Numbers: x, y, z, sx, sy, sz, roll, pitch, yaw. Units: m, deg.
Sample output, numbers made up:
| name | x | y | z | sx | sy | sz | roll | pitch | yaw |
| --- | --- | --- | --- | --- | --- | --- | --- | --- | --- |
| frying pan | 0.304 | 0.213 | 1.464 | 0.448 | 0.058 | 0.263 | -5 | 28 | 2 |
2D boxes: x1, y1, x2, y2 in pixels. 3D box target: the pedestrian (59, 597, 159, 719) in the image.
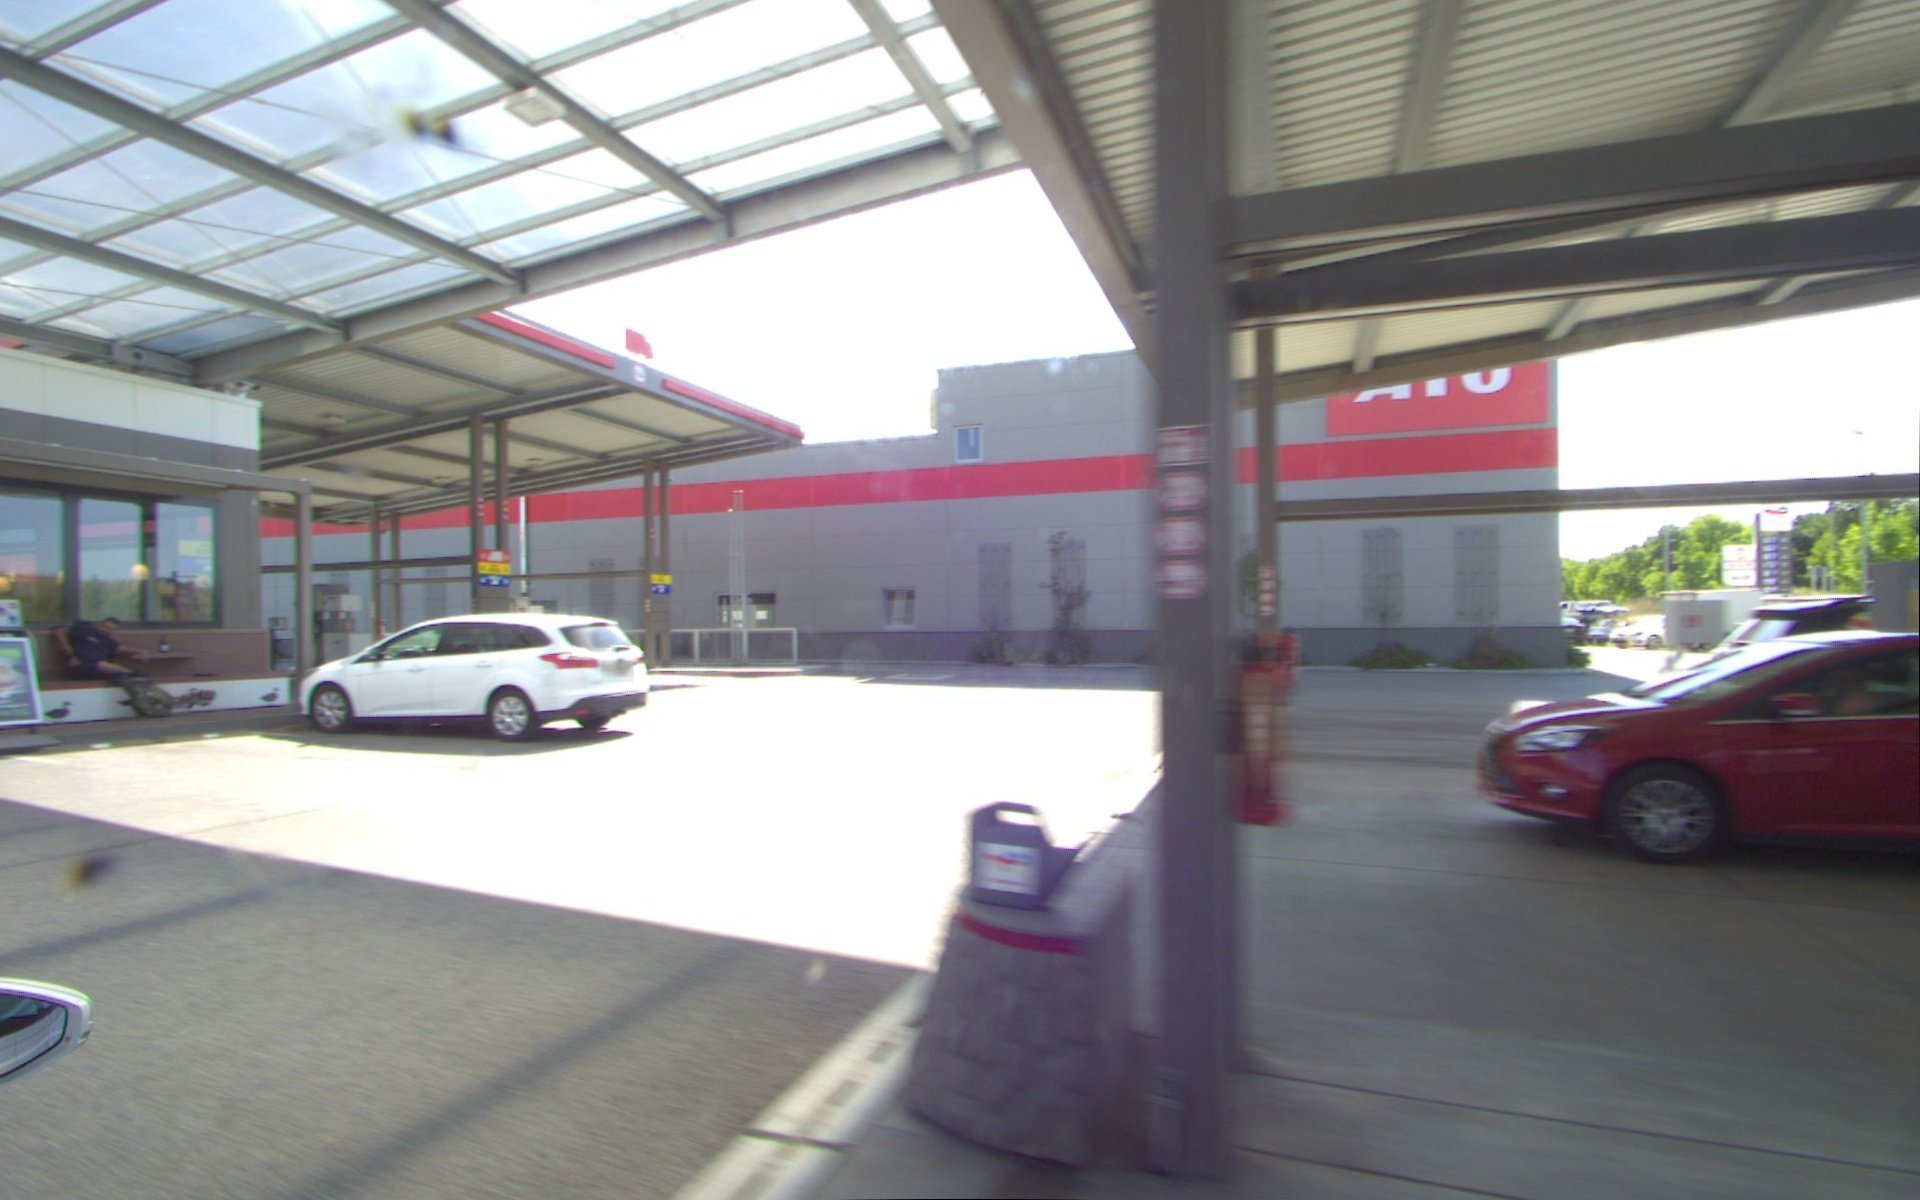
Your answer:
| name | x | y | z | sx | sy | sz | roll | pitch | yaw |
| --- | --- | --- | --- | --- | --- | --- | --- | --- | --- |
| pedestrian | -10.520 | 0.697 | 12.389 | 0.660 | 1.451 | 0.702 | 0 | 0 | 18 |

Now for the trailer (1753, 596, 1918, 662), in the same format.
| name | x | y | z | sx | sy | sz | roll | pitch | yaw |
| --- | --- | --- | --- | --- | --- | --- | --- | --- | --- |
| trailer | 28.030 | 0.913 | 32.124 | 3.923 | 2.040 | 1.802 | 0 | 0 | -6 |

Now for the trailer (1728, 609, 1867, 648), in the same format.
| name | x | y | z | sx | sy | sz | roll | pitch | yaw |
| --- | --- | --- | --- | --- | --- | --- | --- | --- | --- |
| trailer | 28.932 | 0.970 | 34.656 | 3.647 | 1.297 | 1.578 | 0 | -1 | -6 |

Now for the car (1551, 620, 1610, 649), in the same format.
| name | x | y | z | sx | sy | sz | roll | pitch | yaw |
| --- | --- | --- | --- | --- | --- | --- | --- | --- | --- |
| car | 31.391 | 1.726 | 50.761 | 1.651 | 1.335 | 3.830 | 0 | -1 | 17 |

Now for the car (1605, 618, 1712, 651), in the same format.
| name | x | y | z | sx | sy | sz | roll | pitch | yaw |
| --- | --- | --- | --- | --- | --- | --- | --- | --- | --- |
| car | 29.460 | 1.454 | 42.245 | 3.766 | 1.335 | 1.679 | 0 | 0 | -14 |

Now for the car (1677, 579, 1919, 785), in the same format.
| name | x | y | z | sx | sy | sz | roll | pitch | yaw |
| --- | --- | --- | --- | --- | --- | --- | --- | --- | --- |
| car | 10.144 | 0.783 | 9.737 | 4.712 | 1.875 | 2.030 | 1 | 0 | 19 |

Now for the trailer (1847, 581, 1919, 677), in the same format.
| name | x | y | z | sx | sy | sz | roll | pitch | yaw |
| --- | --- | --- | --- | --- | --- | --- | --- | --- | --- |
| trailer | 26.318 | 0.764 | 26.947 | 3.931 | 2.459 | 1.996 | 0 | 0 | -19 |

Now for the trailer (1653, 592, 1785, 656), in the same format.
| name | x | y | z | sx | sy | sz | roll | pitch | yaw |
| --- | --- | --- | --- | --- | --- | --- | --- | --- | --- |
| trailer | 30.194 | 0.948 | 39.902 | 3.924 | 2.459 | 1.999 | 0 | 0 | -8 |

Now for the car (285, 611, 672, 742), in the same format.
| name | x | y | z | sx | sy | sz | roll | pitch | yaw |
| --- | --- | --- | --- | --- | --- | --- | --- | --- | --- |
| car | -6.067 | 0.894 | 12.770 | 4.240 | 1.476 | 1.835 | 0 | -1 | 13 |

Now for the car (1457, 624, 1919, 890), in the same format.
| name | x | y | z | sx | sy | sz | roll | pitch | yaw |
| --- | --- | --- | --- | --- | --- | --- | --- | --- | --- |
| car | 5.668 | 0.917 | 6.509 | 4.157 | 1.488 | 1.701 | 0 | -1 | 19 |
